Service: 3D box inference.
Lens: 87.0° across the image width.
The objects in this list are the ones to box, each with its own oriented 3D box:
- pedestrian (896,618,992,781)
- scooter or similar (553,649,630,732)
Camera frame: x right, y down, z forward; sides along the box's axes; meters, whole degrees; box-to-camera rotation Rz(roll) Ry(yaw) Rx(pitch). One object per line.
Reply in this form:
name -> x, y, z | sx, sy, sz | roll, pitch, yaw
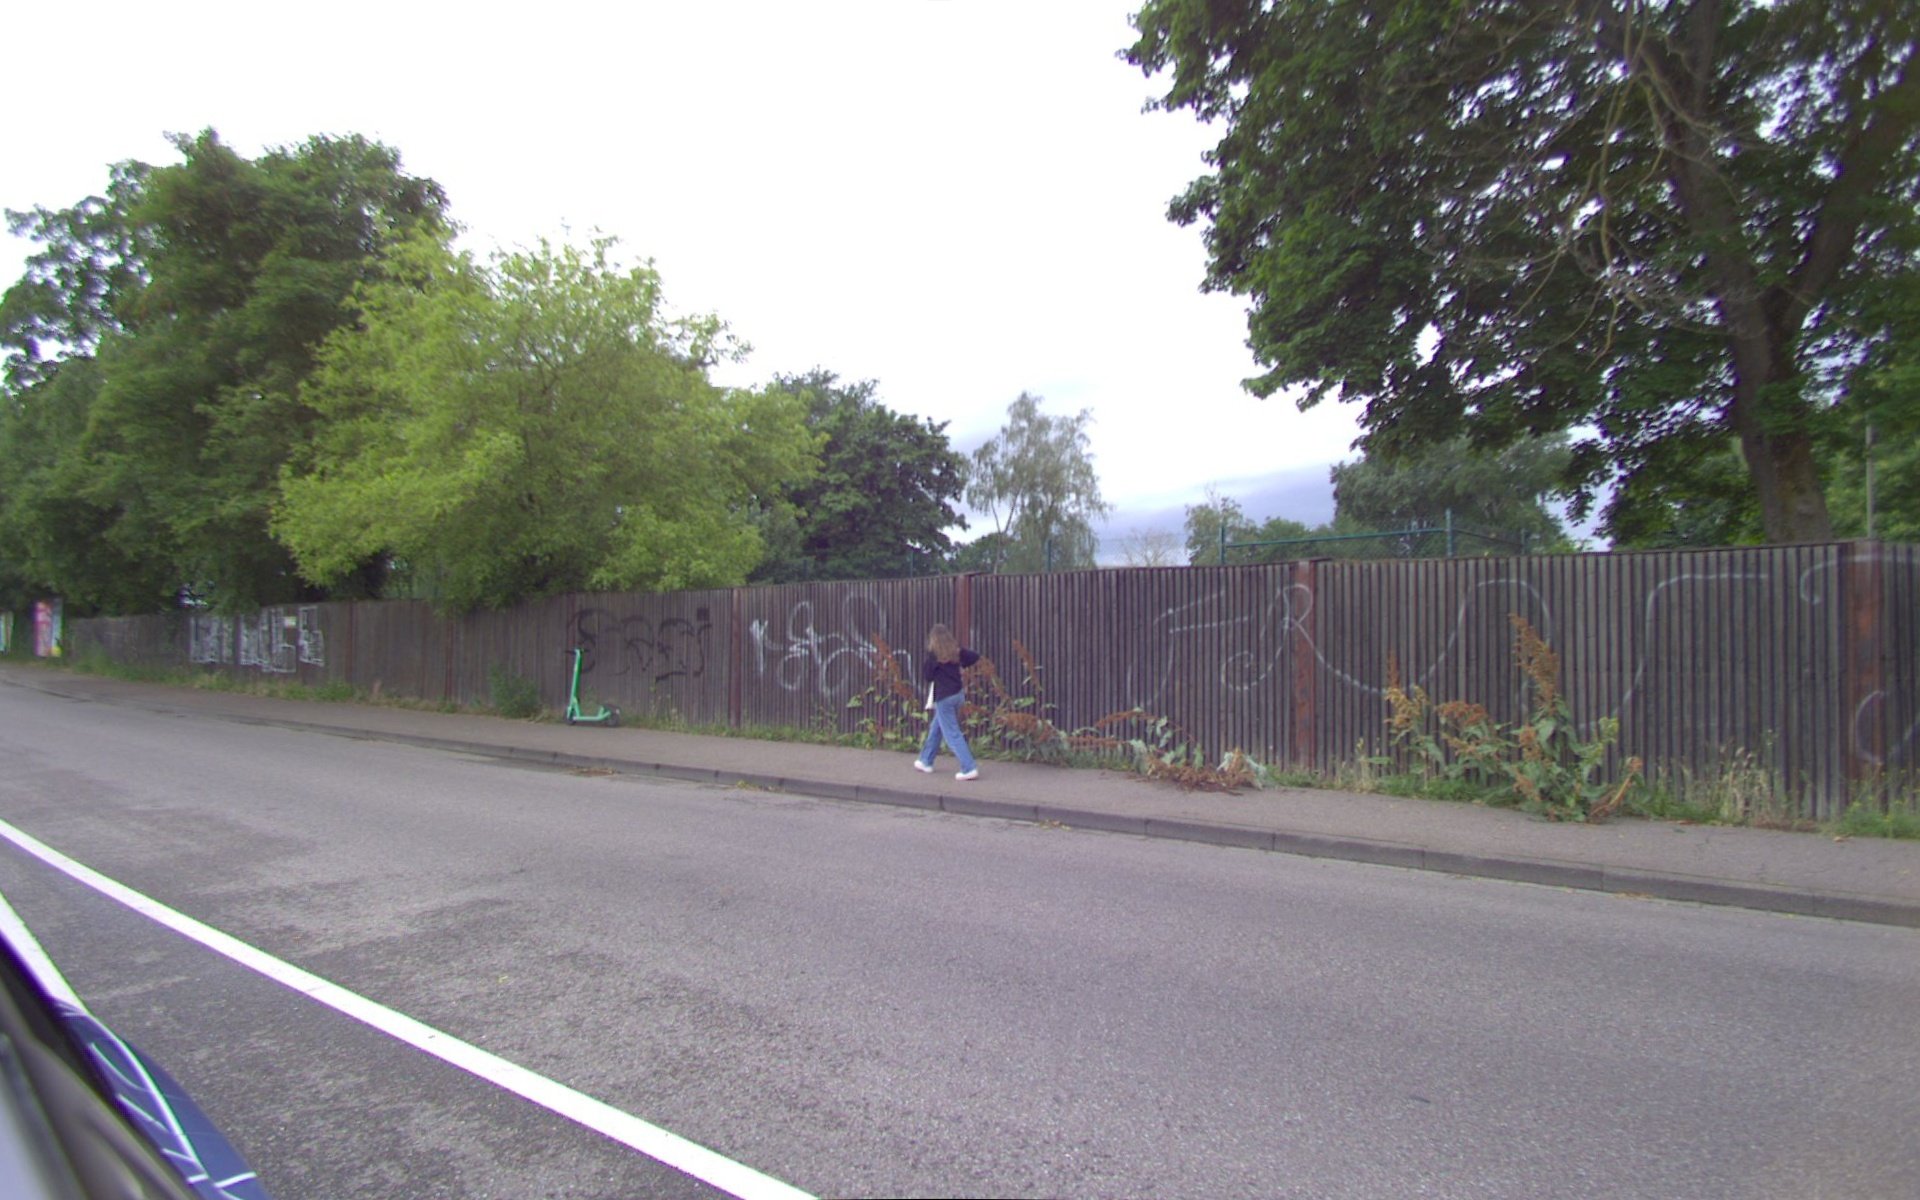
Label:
pedestrian -> -0.160, 0.955, 10.051 | 0.722, 1.541, 0.606 | -2, -2, 36
scooter or similar -> -5.488, 1.322, 15.055 | 1.301, 1.179, 0.419 | -2, -2, 36
